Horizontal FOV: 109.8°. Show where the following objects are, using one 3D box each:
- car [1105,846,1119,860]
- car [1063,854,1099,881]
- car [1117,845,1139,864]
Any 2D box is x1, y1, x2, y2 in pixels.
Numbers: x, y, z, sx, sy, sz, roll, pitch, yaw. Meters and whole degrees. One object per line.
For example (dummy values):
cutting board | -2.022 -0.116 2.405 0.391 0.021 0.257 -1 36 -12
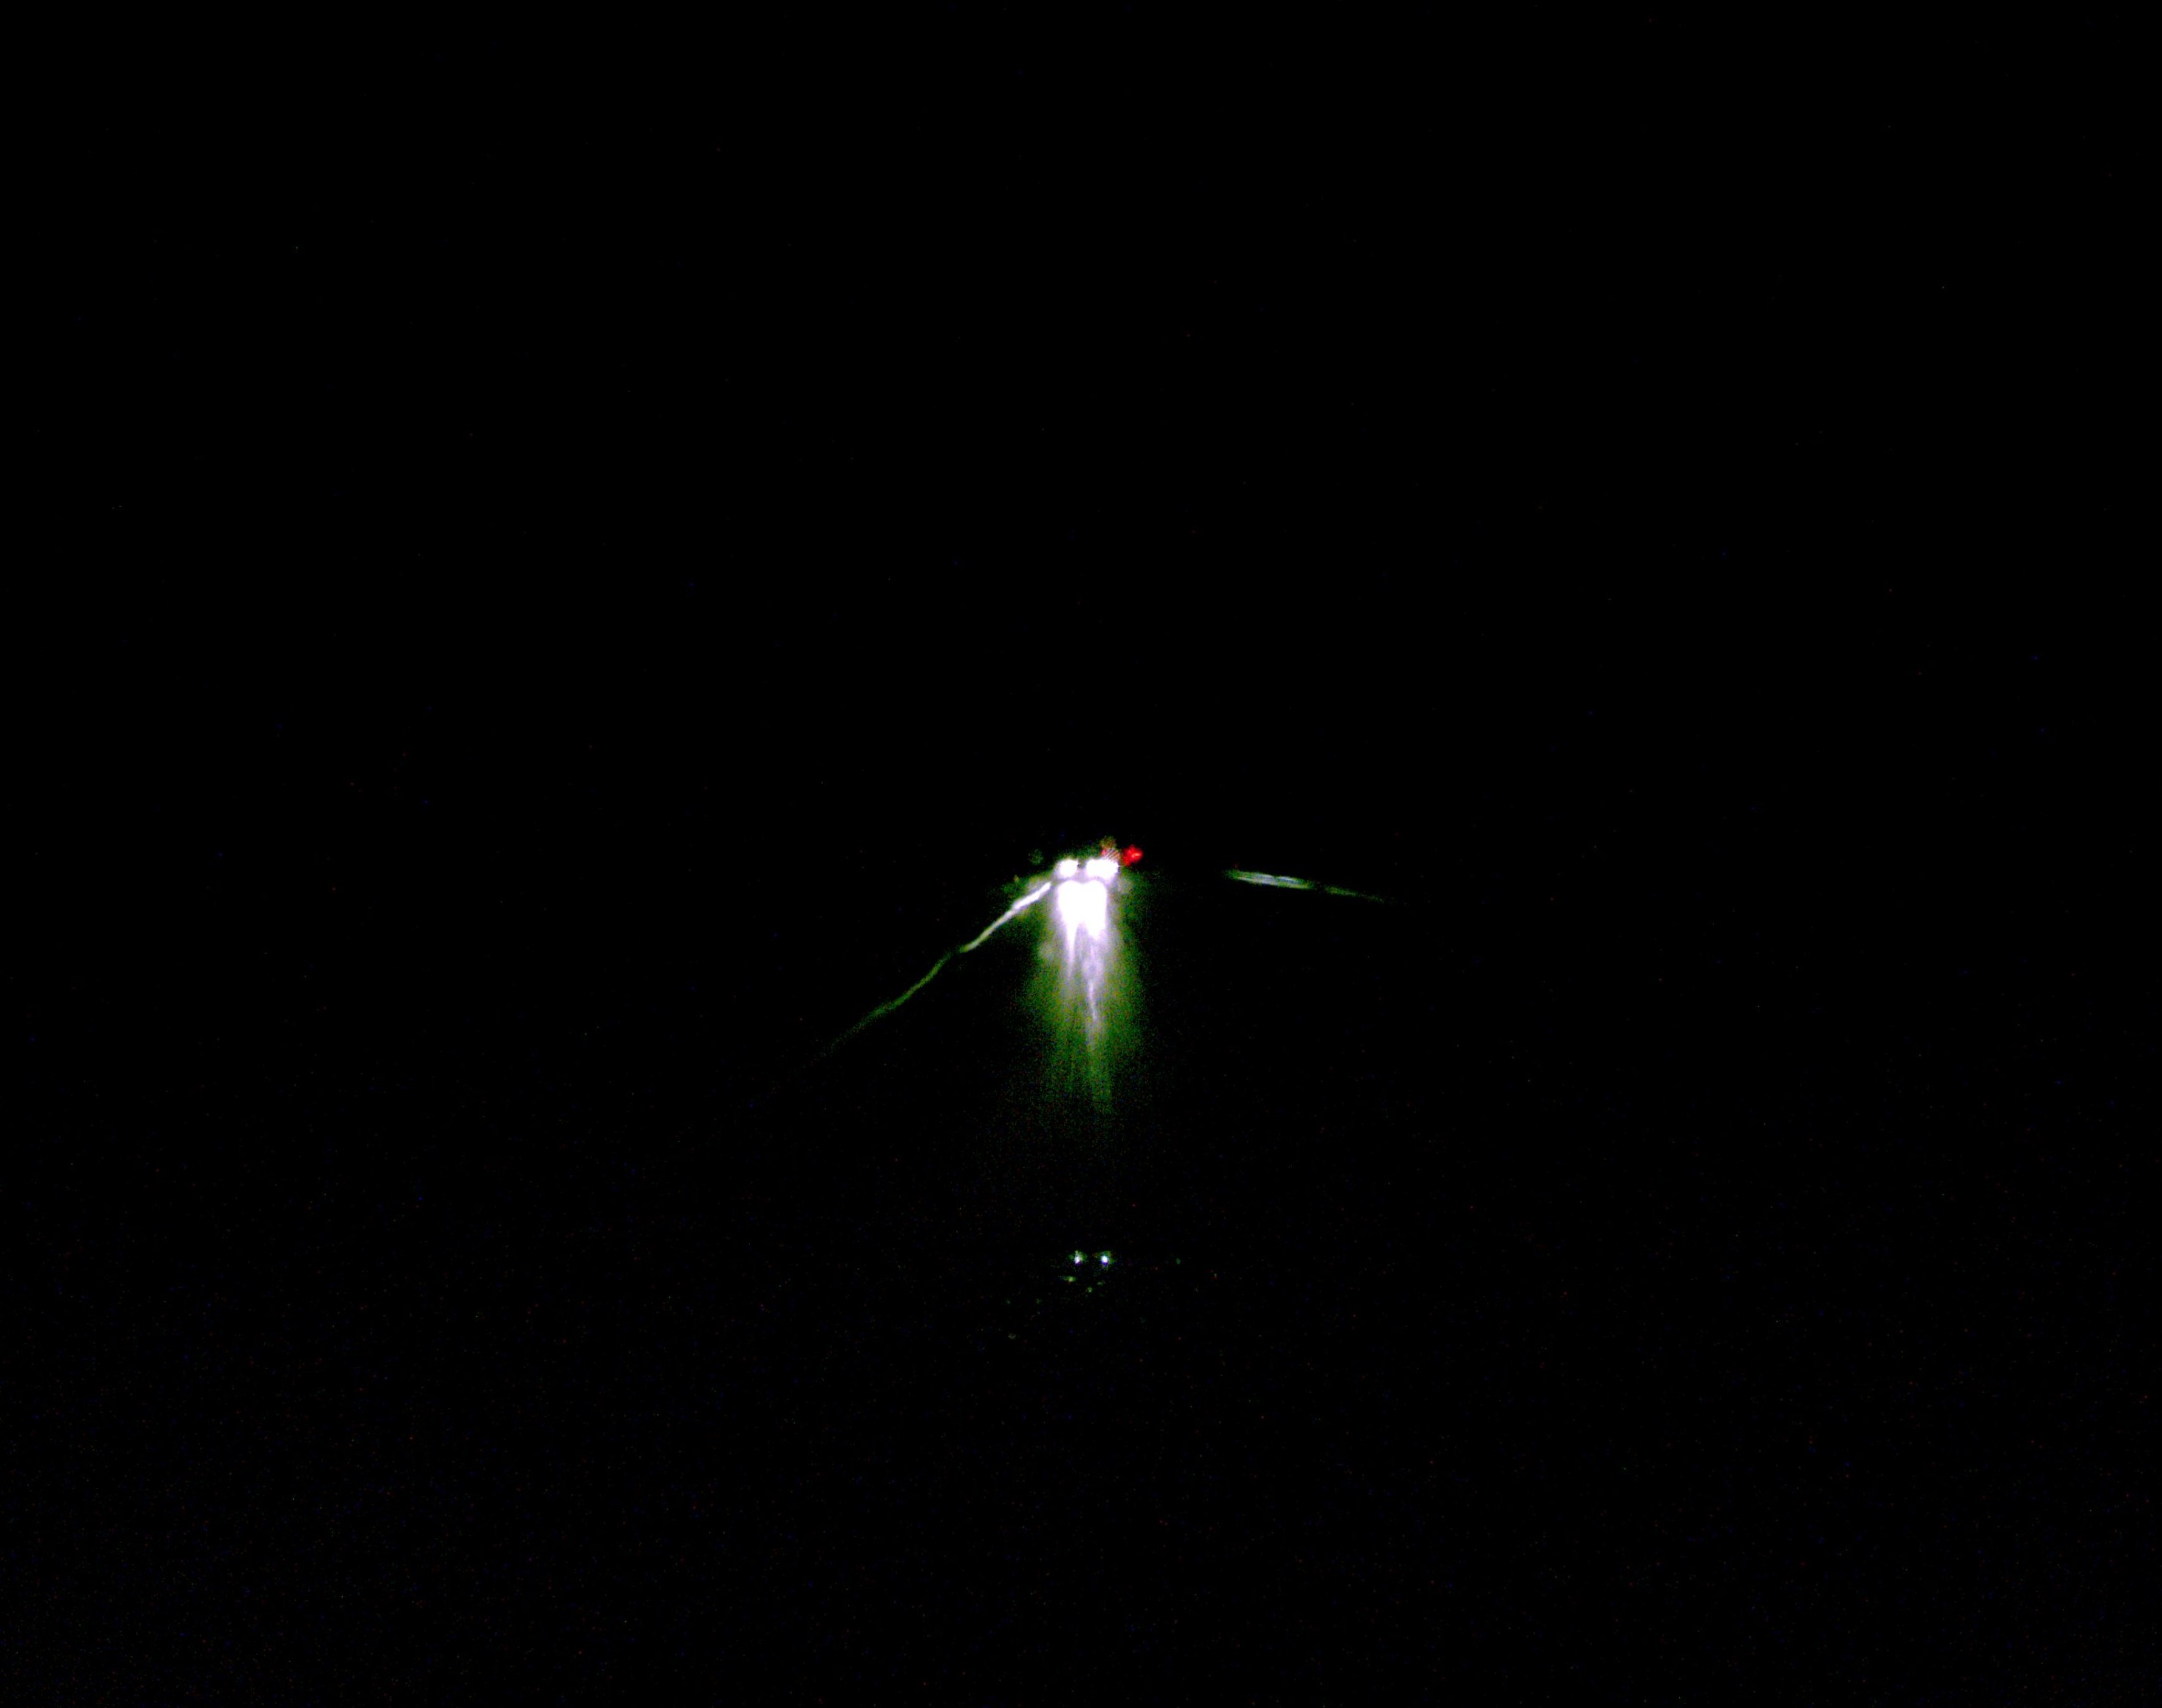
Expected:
car | 4.683 -0.175 115.429 2.011 2.002 4.327 1 0 1
car | 0.019 0.822 46.901 1.743 1.502 3.601 -1 1 7
car | 4.239 0.023 69.239 1.744 1.632 3.599 -1 1 0
